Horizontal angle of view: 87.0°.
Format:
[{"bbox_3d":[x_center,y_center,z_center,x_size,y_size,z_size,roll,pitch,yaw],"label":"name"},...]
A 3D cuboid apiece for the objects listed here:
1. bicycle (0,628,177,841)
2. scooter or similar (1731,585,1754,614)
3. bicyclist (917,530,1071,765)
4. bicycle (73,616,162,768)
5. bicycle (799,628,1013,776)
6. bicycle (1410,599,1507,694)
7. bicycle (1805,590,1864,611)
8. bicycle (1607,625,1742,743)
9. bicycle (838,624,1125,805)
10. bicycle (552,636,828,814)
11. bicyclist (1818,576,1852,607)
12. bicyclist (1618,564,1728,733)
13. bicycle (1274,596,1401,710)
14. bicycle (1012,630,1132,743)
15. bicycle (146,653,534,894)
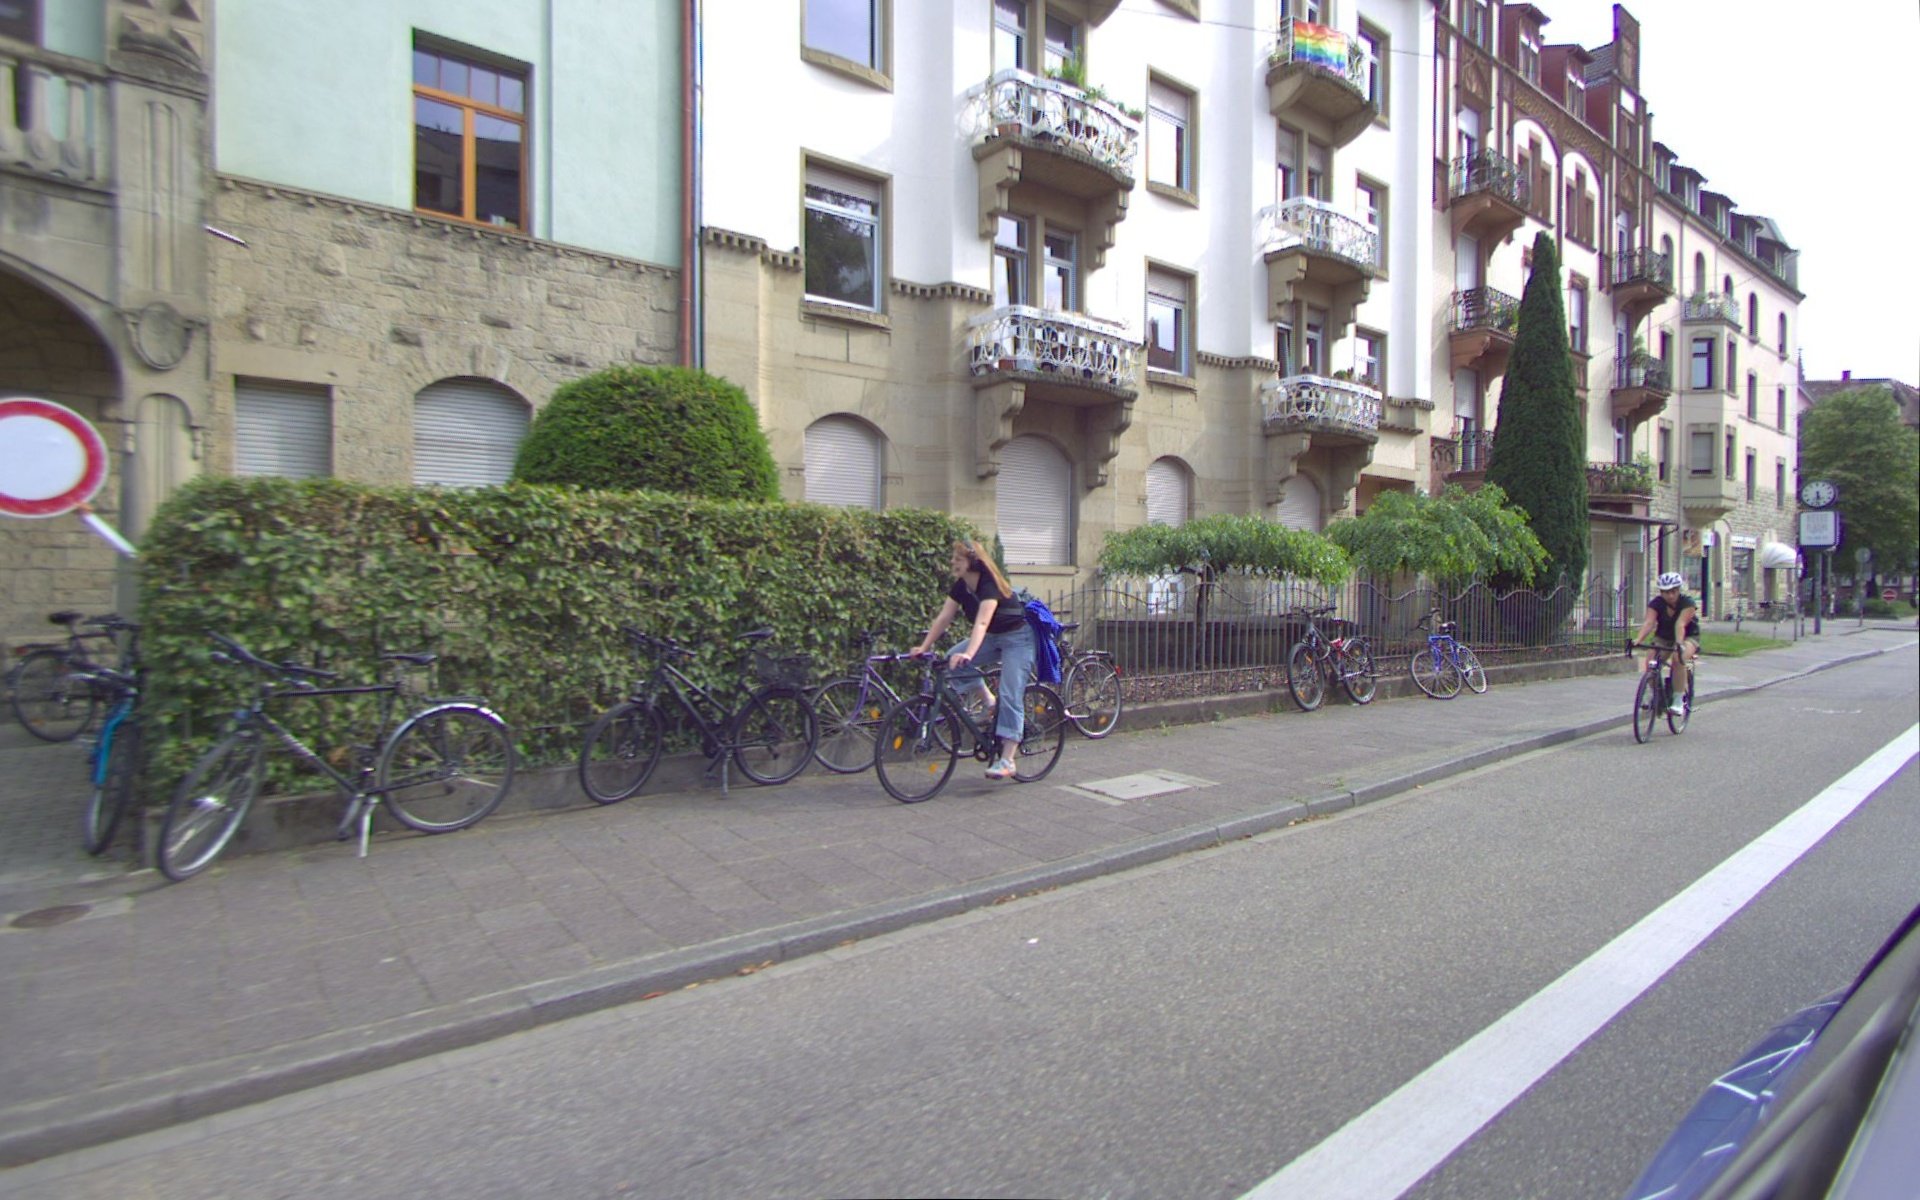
[{"bbox_3d":[-4.887,0.676,5.727,0.477,0.918,1.667,-1,2,-30],"label":"bicycle"},{"bbox_3d":[31.835,-0.029,41.168,1.175,1.182,0.398,0,3,-38],"label":"scooter or similar"},{"bbox_3d":[0.234,0.283,6.922,0.787,1.488,0.649,0,3,-41],"label":"bicyclist"},{"bbox_3d":[-6.038,0.611,7.289,0.381,0.898,1.445,0,3,-36],"label":"bicycle"},{"bbox_3d":[-0.377,0.720,7.630,1.635,0.918,0.487,-2,3,-38],"label":"bicycle"},{"bbox_3d":[6.385,0.562,12.917,1.727,1.116,0.392,-1,2,-39],"label":"bicycle"},{"bbox_3d":[48.314,0.011,55.958,0.871,1.058,3.091,0,1,7],"label":"bicycle"},{"bbox_3d":[7.228,0.796,10.197,2.035,0.993,0.639,-1,2,-41],"label":"bicycle"},{"bbox_3d":[0.203,0.703,6.919,2.001,0.974,0.690,-1,3,-41],"label":"bicycle"},{"bbox_3d":[-1.681,0.736,6.452,1.634,0.918,0.487,-1,2,-36],"label":"bicycle"},{"bbox_3d":[48.317,-0.479,55.893,0.825,1.711,1.244,1,0,8],"label":"bicyclist"},{"bbox_3d":[7.109,0.441,10.083,1.091,1.589,0.639,-1,2,-41],"label":"bicyclist"},{"bbox_3d":[4.249,0.553,11.322,1.886,1.156,0.392,-1,2,-39],"label":"bicycle"},{"bbox_3d":[0.985,0.726,8.777,1.176,0.863,0.278,-2,2,-39],"label":"bicycle"},{"bbox_3d":[-3.116,0.804,5.239,0.485,0.918,1.641,2,3,40],"label":"bicycle"}]
